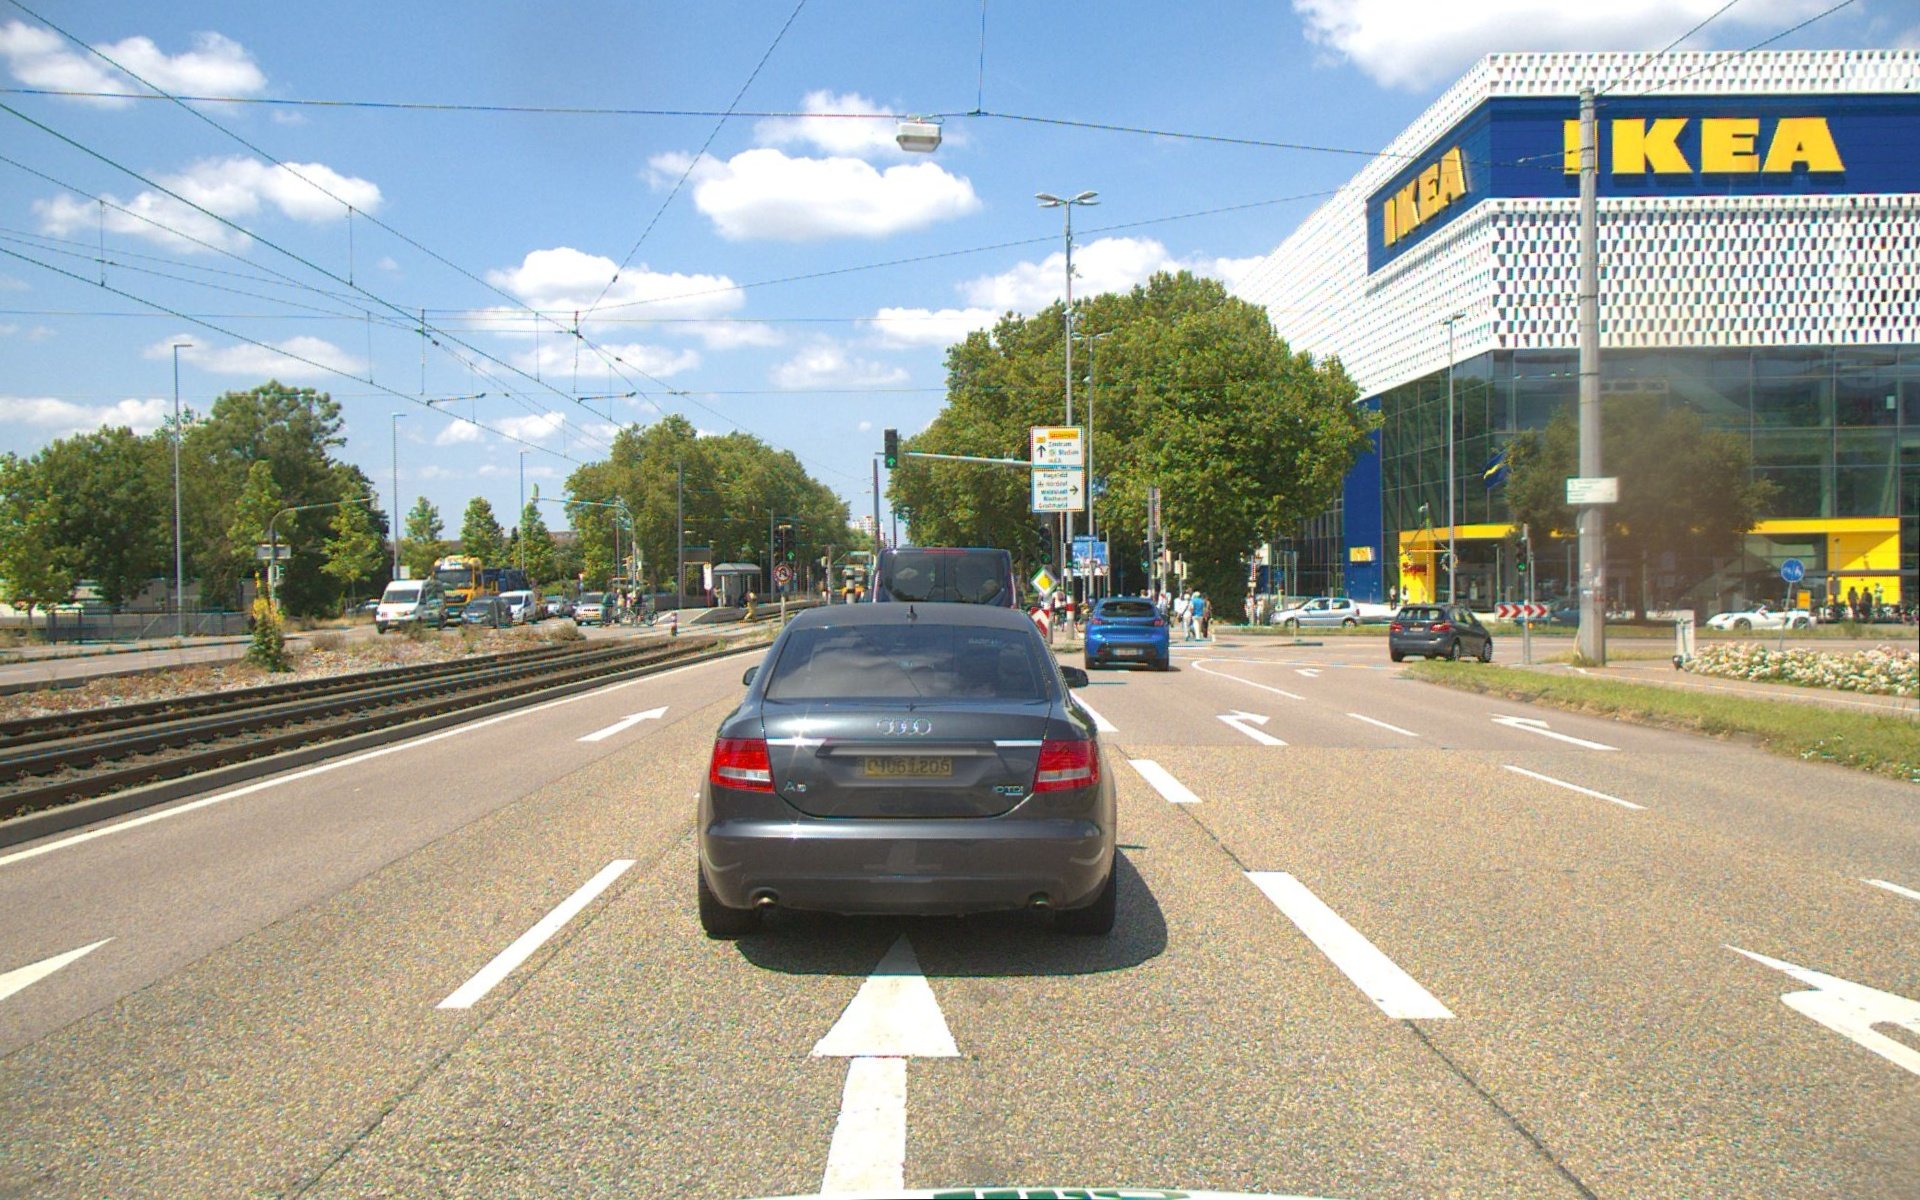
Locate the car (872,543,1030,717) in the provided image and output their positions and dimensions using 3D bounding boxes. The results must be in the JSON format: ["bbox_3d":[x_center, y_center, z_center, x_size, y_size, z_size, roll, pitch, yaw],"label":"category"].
[{"bbox_3d":[-0.136,0.344,20.888,1.799,1.984,3.999,0,0,-1],"label":"car"}]

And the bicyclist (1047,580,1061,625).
[{"bbox_3d":[3.779,0.099,66.479,0.518,1.820,1.088,0,0,0],"label":"bicyclist"}]

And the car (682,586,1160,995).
[{"bbox_3d":[-0.160,0.684,8.089,1.756,1.480,4.000,0,1,-1],"label":"car"}]

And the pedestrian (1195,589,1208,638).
[{"bbox_3d":[8.344,0.470,57.147,0.389,1.663,0.371,0,0,2],"label":"pedestrian"}]

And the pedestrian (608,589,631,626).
[{"bbox_3d":[-16.439,0.356,79.915,0.806,1.750,0.775,0,0,21],"label":"pedestrian"}]

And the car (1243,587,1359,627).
[{"bbox_3d":[14.080,0.263,68.420,4.403,1.512,2.001,2,0,3],"label":"car"}]

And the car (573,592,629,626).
[{"bbox_3d":[-18.569,0.436,85.753,1.784,1.699,4.462,1,0,2],"label":"car"}]

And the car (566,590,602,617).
[{"bbox_3d":[-27.788,0.229,122.409,1.781,1.916,3.999,0,0,-1],"label":"car"}]

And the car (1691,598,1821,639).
[{"bbox_3d":[32.921,0.756,68.481,4.403,1.512,2.001,2,0,3],"label":"car"}]

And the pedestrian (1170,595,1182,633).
[{"bbox_3d":[7.446,0.483,56.910,0.365,1.326,0.365,0,0,2],"label":"pedestrian"}]

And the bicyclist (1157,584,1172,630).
[{"bbox_3d":[8.101,0.282,65.544,0.517,1.795,0.828,0,0,13],"label":"bicyclist"}]

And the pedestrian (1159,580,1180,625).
[{"bbox_3d":[8.807,0.092,69.527,0.671,1.878,0.706,1,0,25],"label":"pedestrian"}]

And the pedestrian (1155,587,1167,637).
[{"bbox_3d":[6.752,0.409,55.599,0.373,1.663,0.377,0,0,2],"label":"pedestrian"}]

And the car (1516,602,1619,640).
[{"bbox_3d":[26.252,0.887,71.580,3.710,1.512,2.001,2,0,3],"label":"car"}]

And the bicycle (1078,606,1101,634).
[{"bbox_3d":[5.015,0.749,64.138,0.673,1.023,2.751,0,0,0],"label":"bicycle"}]

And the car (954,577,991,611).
[{"bbox_3d":[0.859,-0.420,115.497,1.955,2.349,4.768,0,0,-7],"label":"car"}]

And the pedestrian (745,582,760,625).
[{"bbox_3d":[-9.966,0.167,79.342,0.672,2.049,0.572,0,0,-5],"label":"pedestrian"}]

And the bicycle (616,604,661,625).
[{"bbox_3d":[-14.791,0.650,76.234,2.019,0.941,0.751,0,0,-11],"label":"bicycle"}]

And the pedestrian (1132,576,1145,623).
[{"bbox_3d":[6.263,-0.021,58.044,0.435,1.663,0.430,0,0,2],"label":"pedestrian"}]

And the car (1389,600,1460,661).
[{"bbox_3d":[12.737,0.783,45.186,1.724,1.553,4.101,0,0,18],"label":"car"}]

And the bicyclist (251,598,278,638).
[{"bbox_3d":[-31.937,0.821,75.945,1.097,1.805,0.340,0,0,-6],"label":"bicyclist"}]

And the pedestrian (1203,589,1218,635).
[{"bbox_3d":[9.282,0.456,61.290,0.510,1.699,0.494,0,0,2],"label":"pedestrian"}]

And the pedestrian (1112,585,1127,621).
[{"bbox_3d":[6.867,0.138,71.270,0.483,1.546,0.707,0,0,17],"label":"pedestrian"}]

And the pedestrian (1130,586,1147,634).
[{"bbox_3d":[6.263,0.350,58.087,0.542,1.663,0.433,0,0,2],"label":"pedestrian"}]

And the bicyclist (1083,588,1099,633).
[{"bbox_3d":[5.084,0.403,64.211,0.518,1.705,1.088,0,0,-1],"label":"bicyclist"}]

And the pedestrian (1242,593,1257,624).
[{"bbox_3d":[15.015,0.422,85.727,0.690,1.571,0.678,1,0,18],"label":"pedestrian"}]

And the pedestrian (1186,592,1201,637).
[{"bbox_3d":[8.647,0.526,61.286,0.493,1.663,0.449,0,0,2],"label":"pedestrian"}]

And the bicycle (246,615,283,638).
[{"bbox_3d":[-31.915,1.222,75.912,1.461,1.004,0.485,0,0,-5],"label":"bicycle"}]

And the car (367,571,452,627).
[{"bbox_3d":[-27.549,-0.097,83.059,2.198,2.634,6.233,-2,1,-2],"label":"car"}]

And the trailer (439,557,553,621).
[{"bbox_3d":[-28.116,-0.667,101.200,2.711,3.580,15.875,0,0,-1],"label":"trailer"}]

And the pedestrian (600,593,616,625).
[{"bbox_3d":[-16.397,0.411,77.047,0.671,1.468,0.572,0,0,-4],"label":"pedestrian"}]

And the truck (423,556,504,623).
[{"bbox_3d":[-27.993,-0.610,93.489,2.711,3.631,6.438,0,0,-1],"label":"truck"}]

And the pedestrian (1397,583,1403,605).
[{"bbox_3d":[27.962,-0.376,105.133,0.283,1.366,0.266,0,0,-1],"label":"pedestrian"}]

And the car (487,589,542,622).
[{"bbox_3d":[-24.538,0.281,91.273,1.785,1.699,4.461,1,0,1],"label":"car"}]

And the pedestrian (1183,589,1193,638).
[{"bbox_3d":[7.881,0.468,57.160,0.314,1.663,0.377,0,0,2],"label":"pedestrian"}]

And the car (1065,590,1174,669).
[{"bbox_3d":[3.237,0.560,34.309,1.800,1.480,4.000,1,1,-1],"label":"car"}]

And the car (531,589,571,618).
[{"bbox_3d":[-27.884,0.239,112.760,1.781,1.916,3.999,0,0,-1],"label":"car"}]

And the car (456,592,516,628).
[{"bbox_3d":[-24.139,0.488,84.410,1.785,1.699,4.461,1,0,-1],"label":"car"}]

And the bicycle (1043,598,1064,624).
[{"bbox_3d":[3.790,0.437,67.261,0.673,1.011,2.751,0,0,0],"label":"bicycle"}]
